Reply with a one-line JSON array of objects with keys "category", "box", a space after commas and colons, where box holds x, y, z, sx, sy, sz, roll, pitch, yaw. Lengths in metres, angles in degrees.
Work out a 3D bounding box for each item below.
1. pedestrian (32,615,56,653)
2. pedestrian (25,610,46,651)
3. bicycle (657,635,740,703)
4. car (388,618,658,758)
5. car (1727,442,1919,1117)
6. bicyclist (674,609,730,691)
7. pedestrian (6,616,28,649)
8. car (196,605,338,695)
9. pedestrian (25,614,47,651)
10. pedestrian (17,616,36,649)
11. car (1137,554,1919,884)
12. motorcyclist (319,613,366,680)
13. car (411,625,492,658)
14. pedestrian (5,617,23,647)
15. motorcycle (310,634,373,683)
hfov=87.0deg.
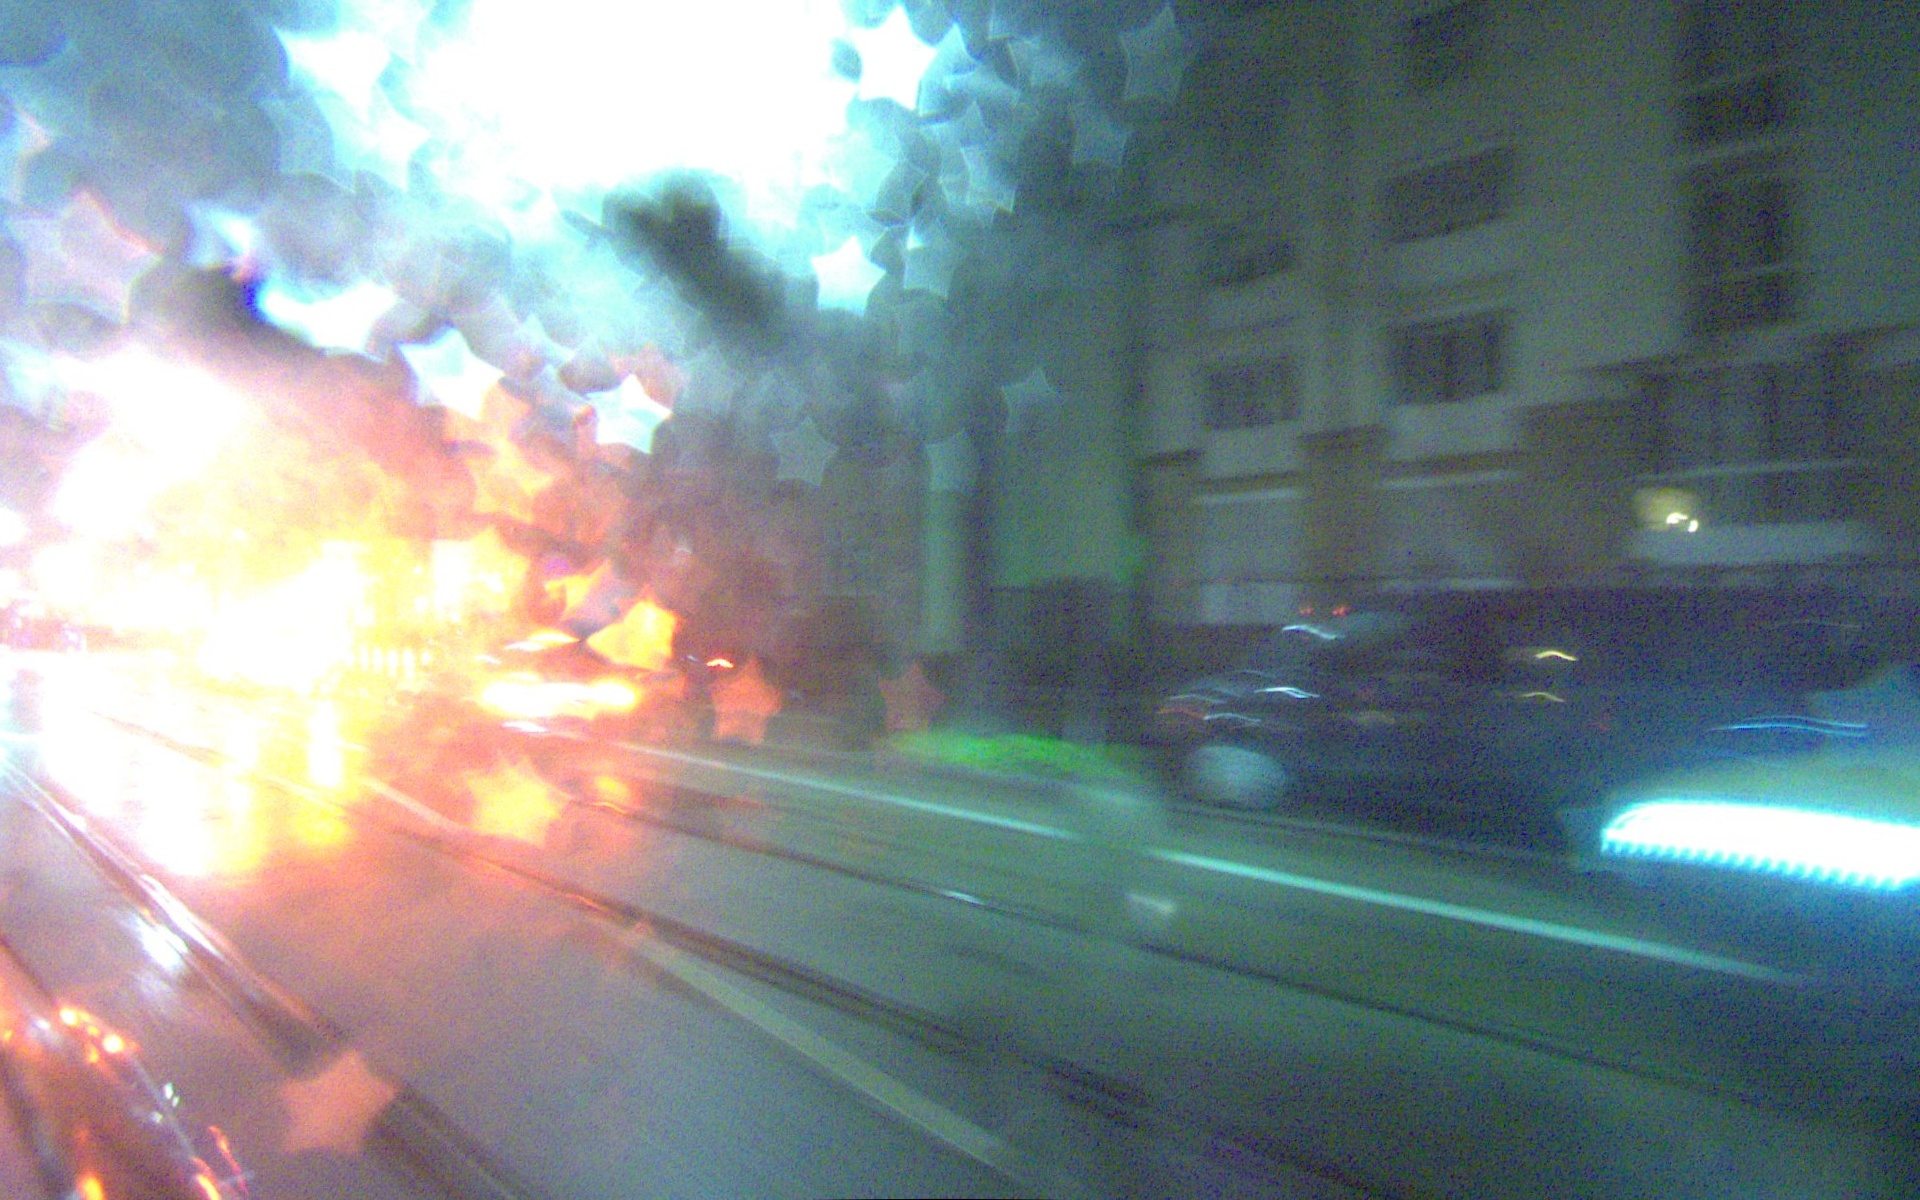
[{"category": "pedestrian", "box": [-43.867, 1.635, 48.457, 0.715, 1.787, 0.664, 0, 1, 32]}, {"category": "pedestrian", "box": [-46.692, 1.537, 51.116, 0.858, 2.001, 0.602, 0, 1, 39]}, {"category": "bicycle", "box": [-5.008, 1.289, 19.313, 0.647, 1.150, 1.899, -2, 2, -45]}, {"category": "car", "box": [-5.591, 0.986, 12.722, 3.902, 1.475, 1.772, -2, -2, 44]}, {"category": "car", "box": [4.738, 0.490, 2.268, 4.637, 1.894, 1.905, -2, -3, 43]}, {"category": "bicyclist", "box": [-4.880, 0.933, 19.168, 0.868, 1.476, 0.647, 0, 2, 45]}, {"category": "pedestrian", "box": [-48.554, 1.650, 52.107, 0.552, 1.664, 0.585, -1, 1, -1]}, {"category": "car", "box": [-16.105, 1.085, 23.416, 1.873, 1.883, 4.538, 3, -2, -45]}, {"category": "pedestrian", "box": [-45.483, 1.594, 49.817, 0.671, 1.787, 0.707, 0, 2, 44]}, {"category": "pedestrian", "box": [-47.942, 1.663, 51.965, 0.525, 1.641, 0.400, -1, 1, -1]}, {"category": "car", "box": [4.243, 0.706, 8.023, 5.306, 1.839, 1.973, -2, 1, 41]}, {"category": "motorcyclist", "box": [-16.697, 1.245, 27.361, 1.027, 1.744, 0.700, 0, -3, 39]}, {"category": "car", "box": [-25.470, 2.053, 50.841, 1.904, 1.527, 3.586, 0, 0, 10]}, {"category": "pedestrian", "box": [-50.248, 1.689, 53.764, 0.571, 1.559, 0.507, -1, 1, 24]}, {"category": "motorcycle", "box": [-16.765, 1.562, 27.399, 2.323, 1.239, 0.700, 0, -3, 40]}]
